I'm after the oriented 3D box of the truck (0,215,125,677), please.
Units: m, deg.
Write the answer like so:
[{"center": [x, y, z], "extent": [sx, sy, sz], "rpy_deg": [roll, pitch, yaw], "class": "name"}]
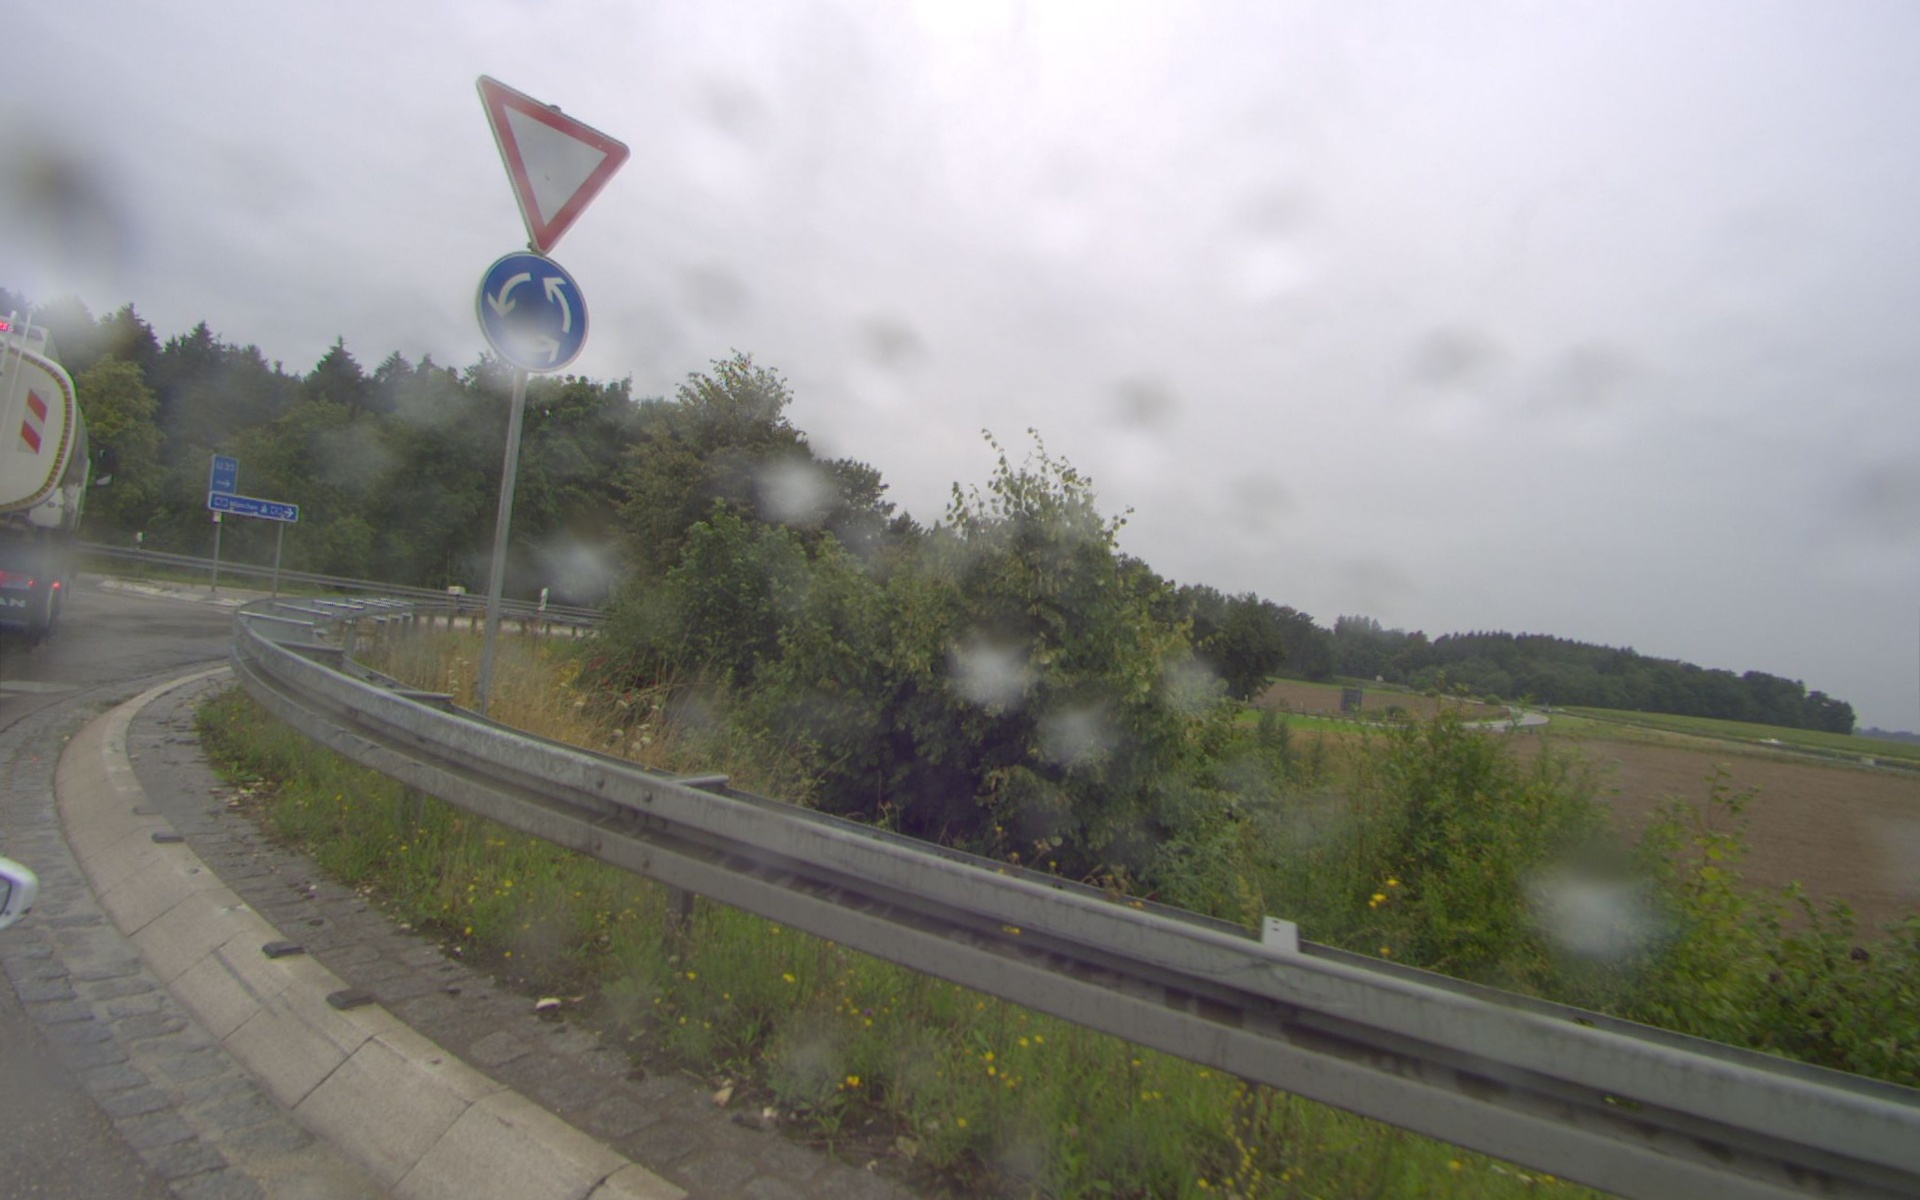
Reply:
[{"center": [-11.769, -1.644, 11.343], "extent": [3.027, 3.895, 8.730], "rpy_deg": [9, -3, -38], "class": "truck"}]
